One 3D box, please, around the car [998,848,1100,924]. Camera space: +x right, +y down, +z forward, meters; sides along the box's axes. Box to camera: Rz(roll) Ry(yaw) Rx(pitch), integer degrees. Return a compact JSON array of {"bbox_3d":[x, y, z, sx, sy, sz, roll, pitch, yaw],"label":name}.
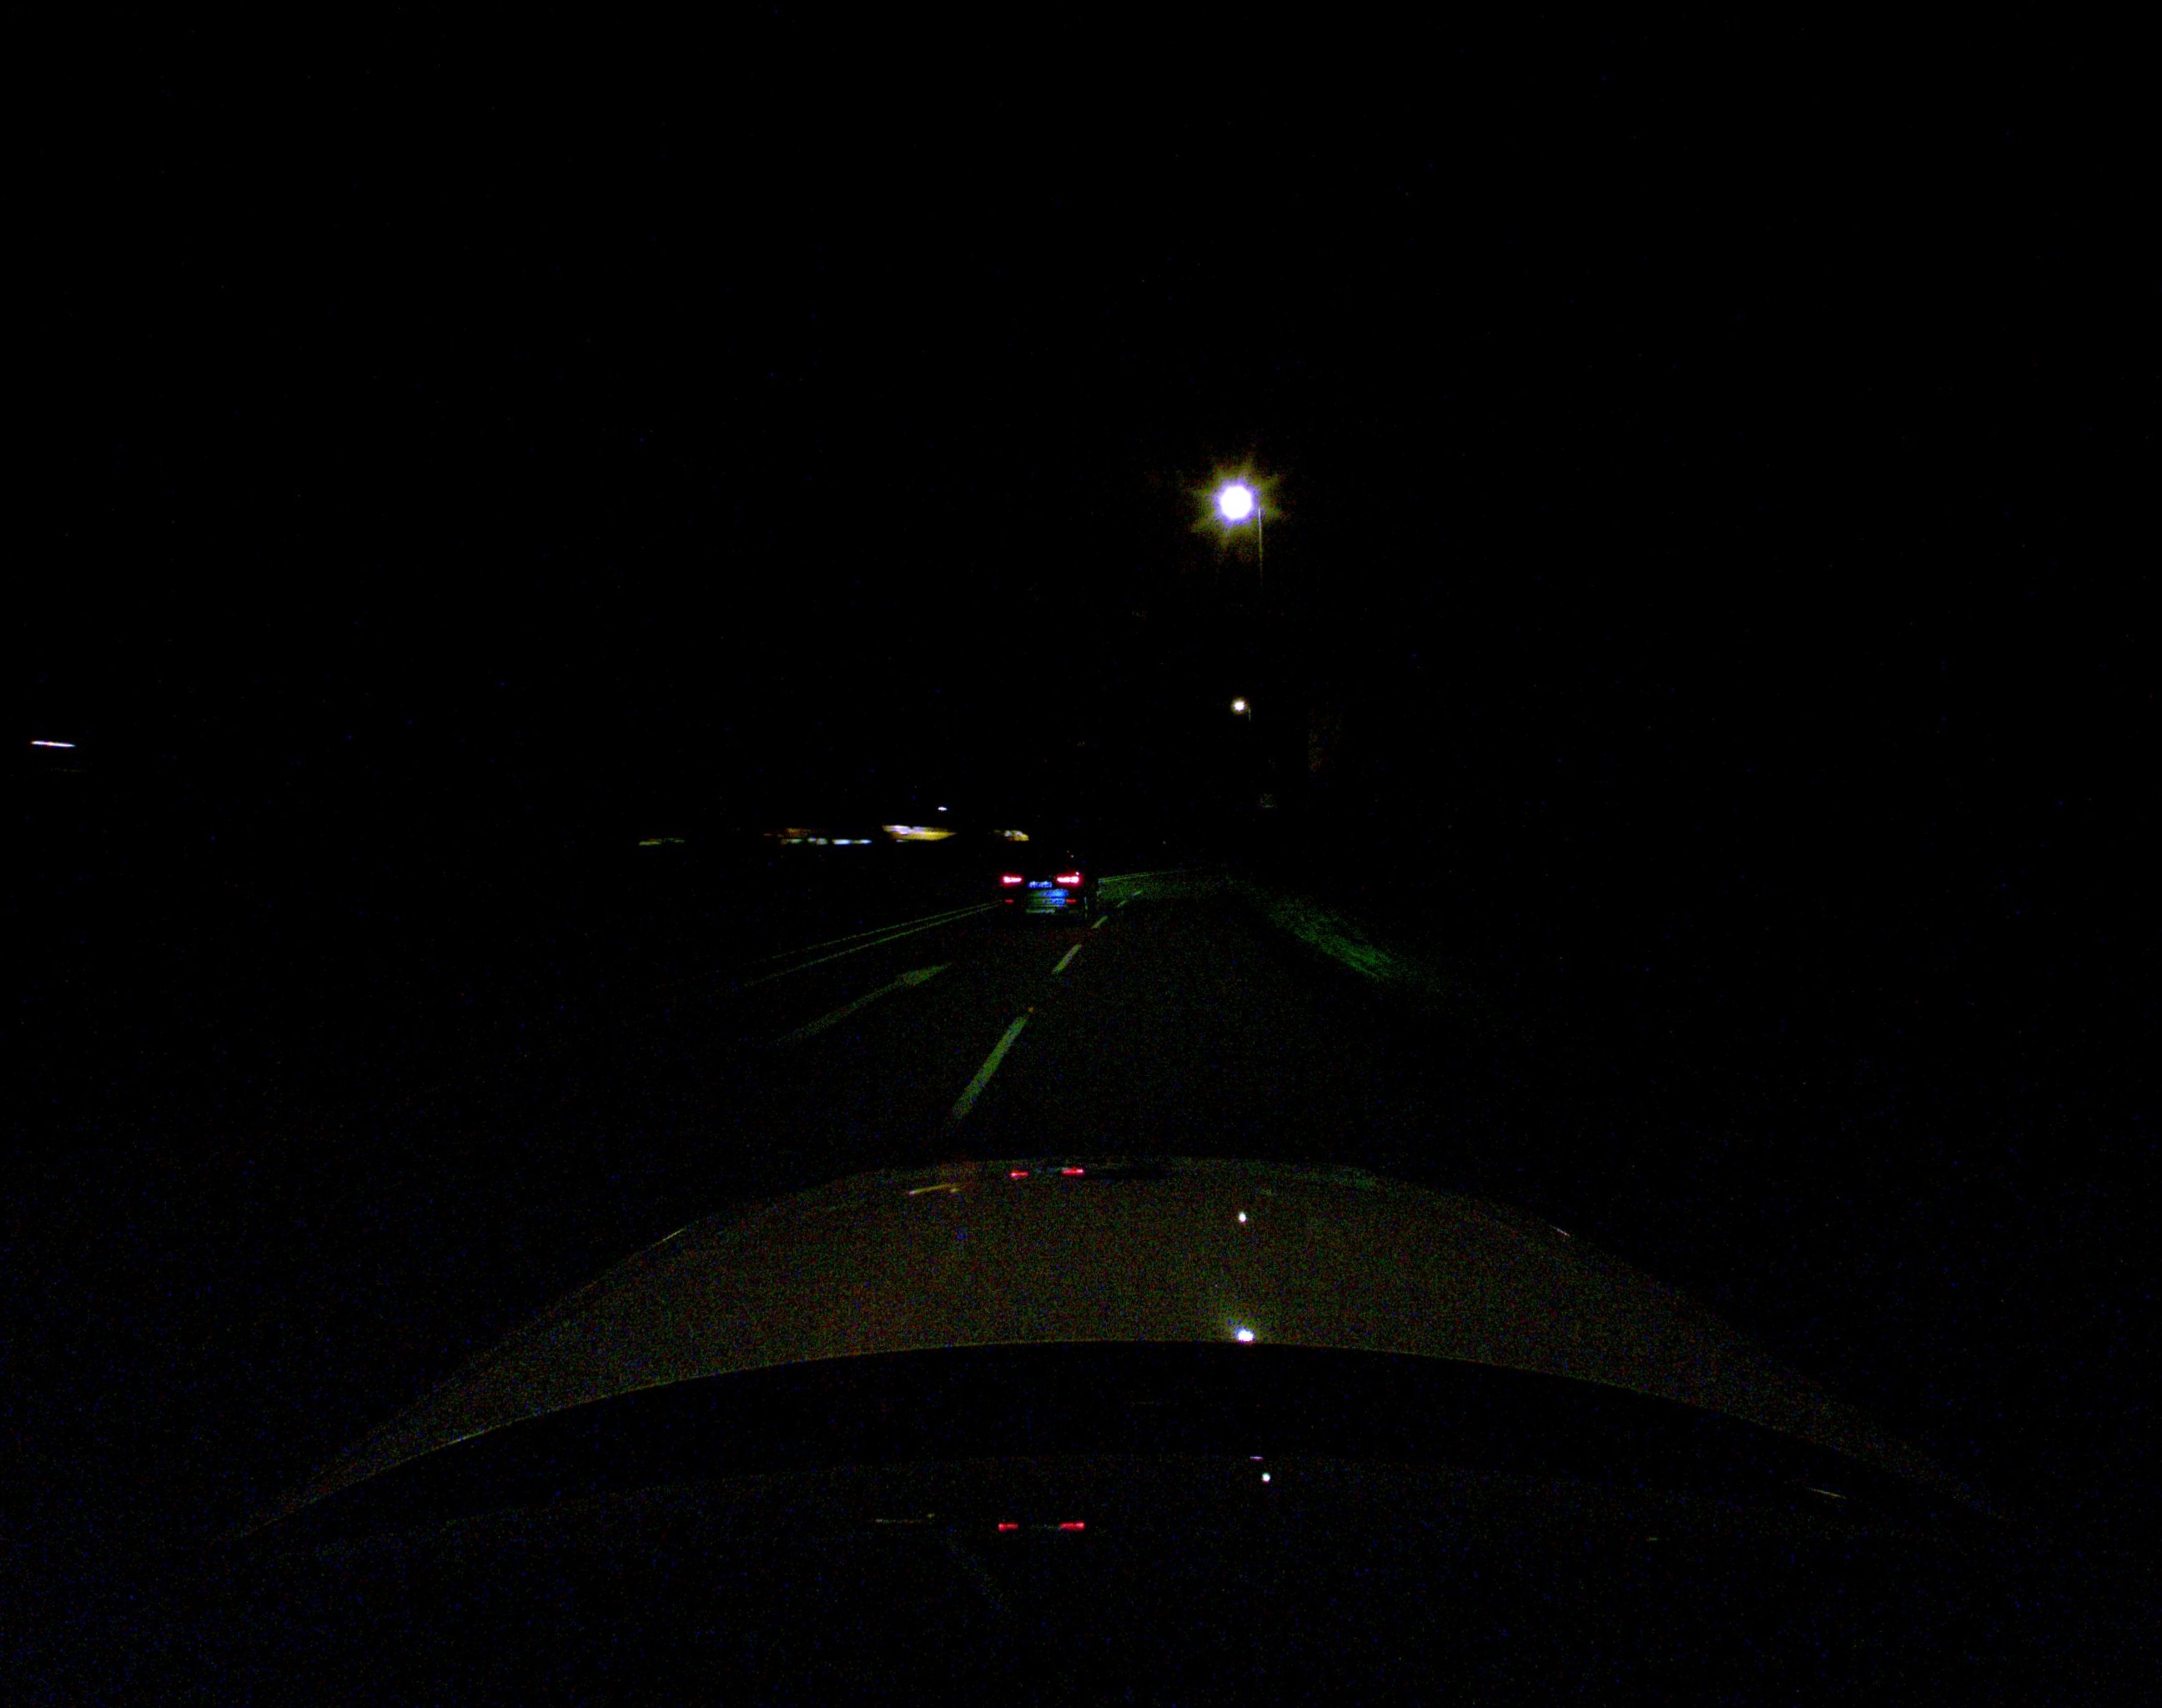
[{"bbox_3d":[-0.626,0.651,18.824,1.806,1.573,3.950,0,0,6],"label":"car"}]
